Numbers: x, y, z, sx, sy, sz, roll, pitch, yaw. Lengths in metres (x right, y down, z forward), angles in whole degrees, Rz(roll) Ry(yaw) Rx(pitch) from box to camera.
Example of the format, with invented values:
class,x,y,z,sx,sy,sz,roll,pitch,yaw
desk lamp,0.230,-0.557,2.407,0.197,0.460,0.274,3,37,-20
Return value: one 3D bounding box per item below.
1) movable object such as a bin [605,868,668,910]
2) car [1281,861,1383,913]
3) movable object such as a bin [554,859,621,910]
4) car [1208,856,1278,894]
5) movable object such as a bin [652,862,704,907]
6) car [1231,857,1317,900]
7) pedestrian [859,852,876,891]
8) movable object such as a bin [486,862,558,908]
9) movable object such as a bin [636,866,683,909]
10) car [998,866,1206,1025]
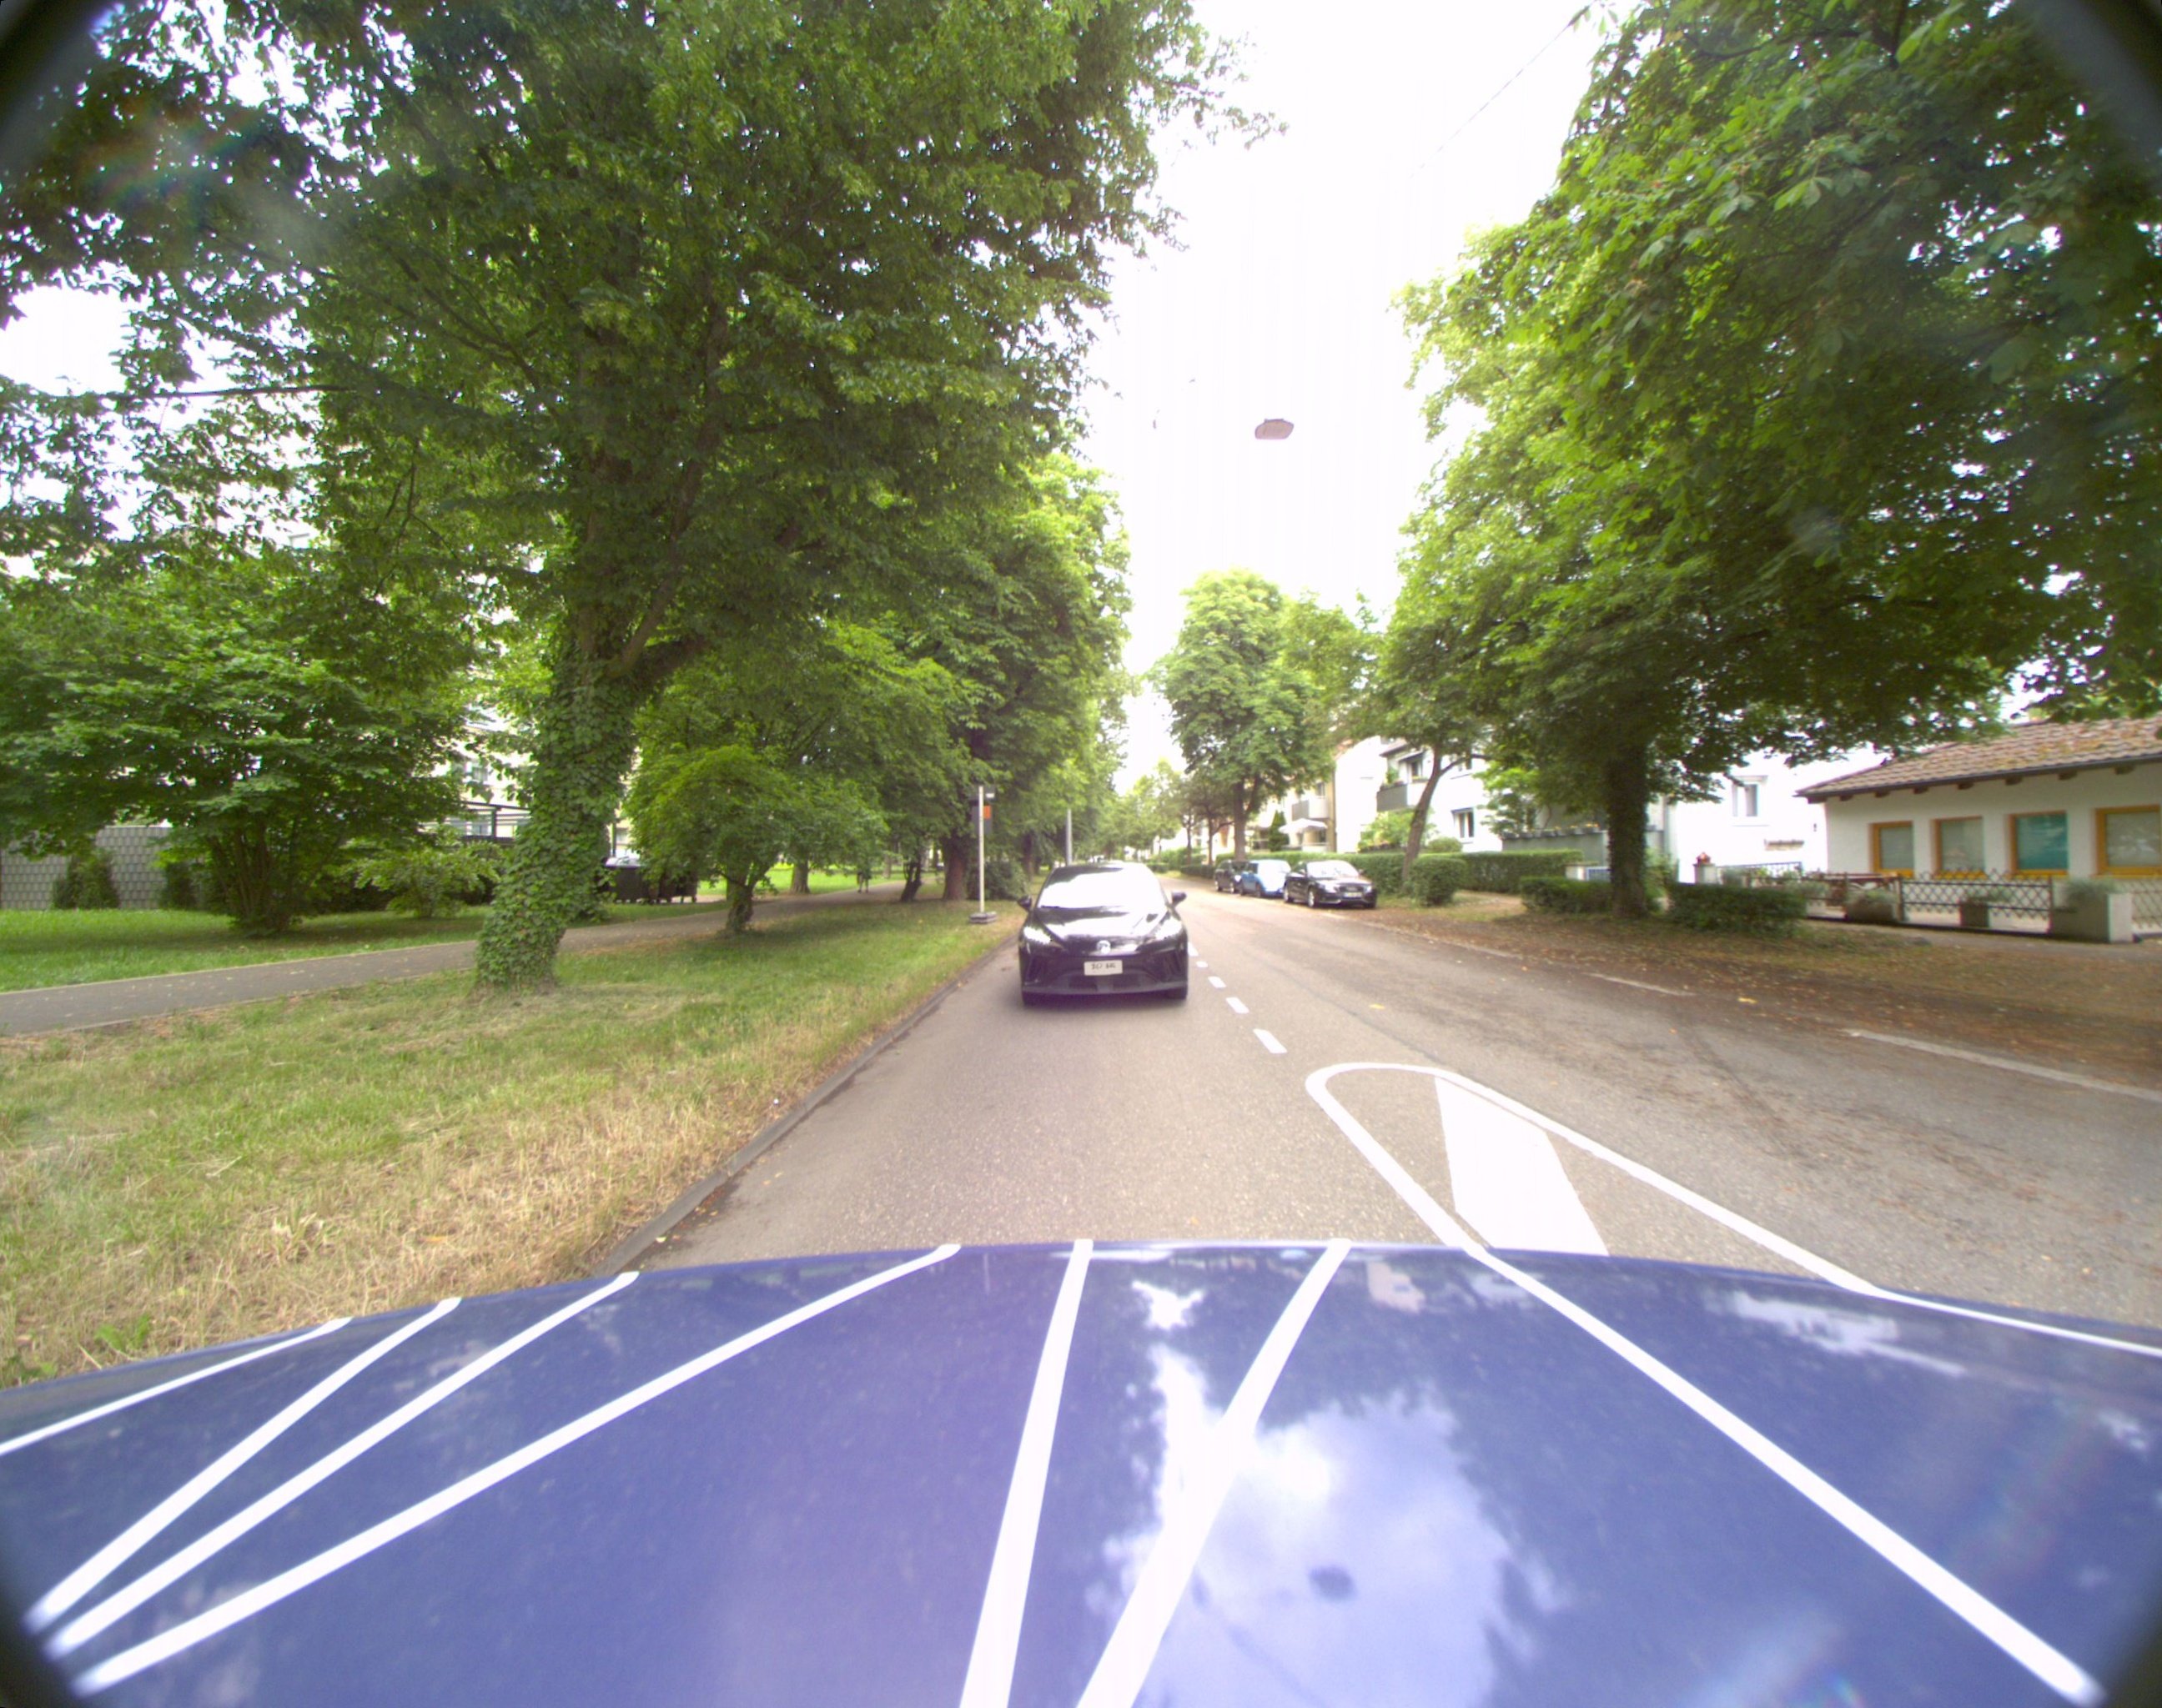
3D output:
class,x,y,z,sx,sy,sz,roll,pitch,yaw
movable object such as a bin,-13.251,1.027,22.687,1.194,1.213,1.348,0,0,-8
car,7.411,0.913,22.885,1.735,1.394,4.172,0,0,1
movable object such as a bin,-14.568,0.870,22.495,1.194,1.448,1.348,0,0,-8
car,7.082,0.880,33.660,1.889,1.524,4.565,0,0,-3
movable object such as a bin,-13.238,0.986,24.980,1.194,1.405,1.110,0,0,-8
car,7.212,0.878,28.906,1.889,1.492,4.565,0,0,-3
pedestrian,-9.535,0.786,33.931,0.565,1.730,0.570,1,0,0
movable object such as a bin,-16.509,0.895,22.492,1.194,1.334,1.348,0,0,-8
movable object such as a bin,-13.235,1.045,23.886,1.026,1.296,0.960,0,0,-8
car,0.228,0.917,9.628,1.998,1.491,4.615,0,0,1
